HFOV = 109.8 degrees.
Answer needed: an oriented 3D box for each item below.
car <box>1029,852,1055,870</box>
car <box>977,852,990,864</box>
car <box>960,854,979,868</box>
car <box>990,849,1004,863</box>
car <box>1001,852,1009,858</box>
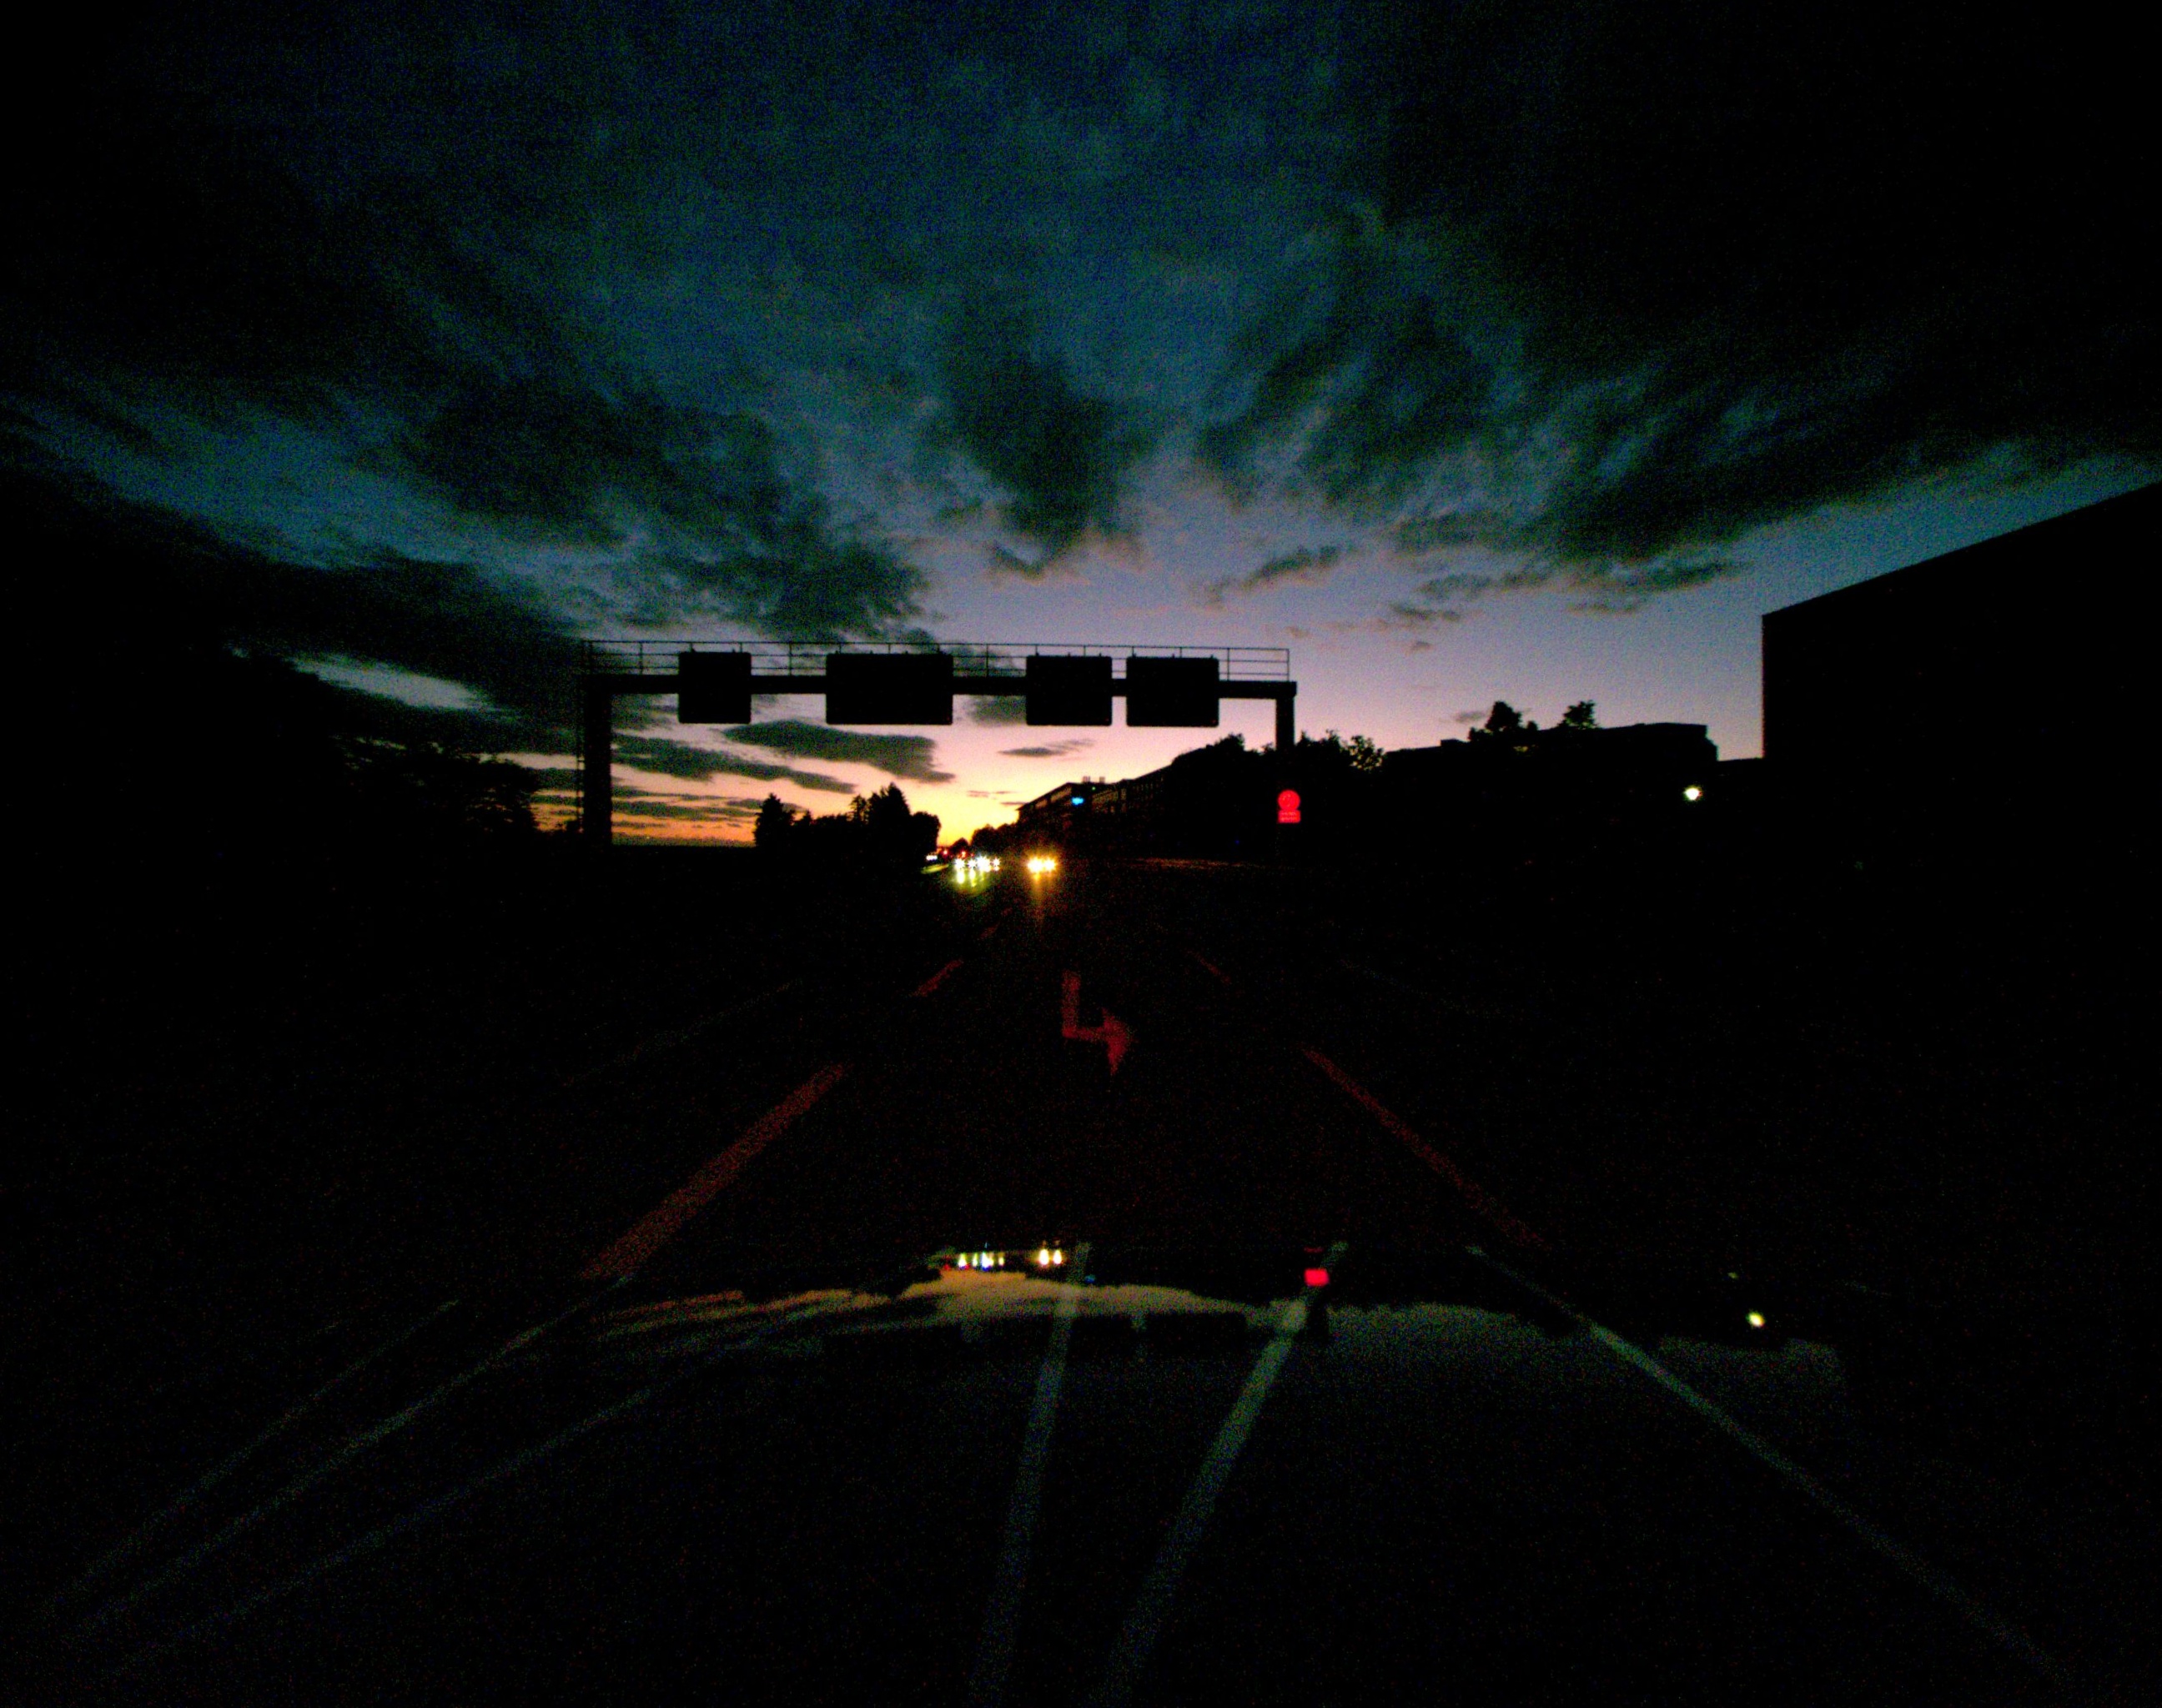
[{"bbox_3d":[-3.418,0.610,66.490,1.757,1.447,3.800,-3,0,-9],"label":"car"},{"bbox_3d":[-16.102,0.640,125.068,1.834,1.739,3.847,-3,0,-10],"label":"car"},{"bbox_3d":[-13.785,0.883,94.308,1.999,1.575,3.998,-3,0,-5],"label":"car"},{"bbox_3d":[-12.383,0.288,112.343,1.862,2.002,3.998,-3,1,-5],"label":"car"},{"bbox_3d":[-21.936,0.237,218.953,1.707,1.613,4.303,-1,0,-10],"label":"car"}]
